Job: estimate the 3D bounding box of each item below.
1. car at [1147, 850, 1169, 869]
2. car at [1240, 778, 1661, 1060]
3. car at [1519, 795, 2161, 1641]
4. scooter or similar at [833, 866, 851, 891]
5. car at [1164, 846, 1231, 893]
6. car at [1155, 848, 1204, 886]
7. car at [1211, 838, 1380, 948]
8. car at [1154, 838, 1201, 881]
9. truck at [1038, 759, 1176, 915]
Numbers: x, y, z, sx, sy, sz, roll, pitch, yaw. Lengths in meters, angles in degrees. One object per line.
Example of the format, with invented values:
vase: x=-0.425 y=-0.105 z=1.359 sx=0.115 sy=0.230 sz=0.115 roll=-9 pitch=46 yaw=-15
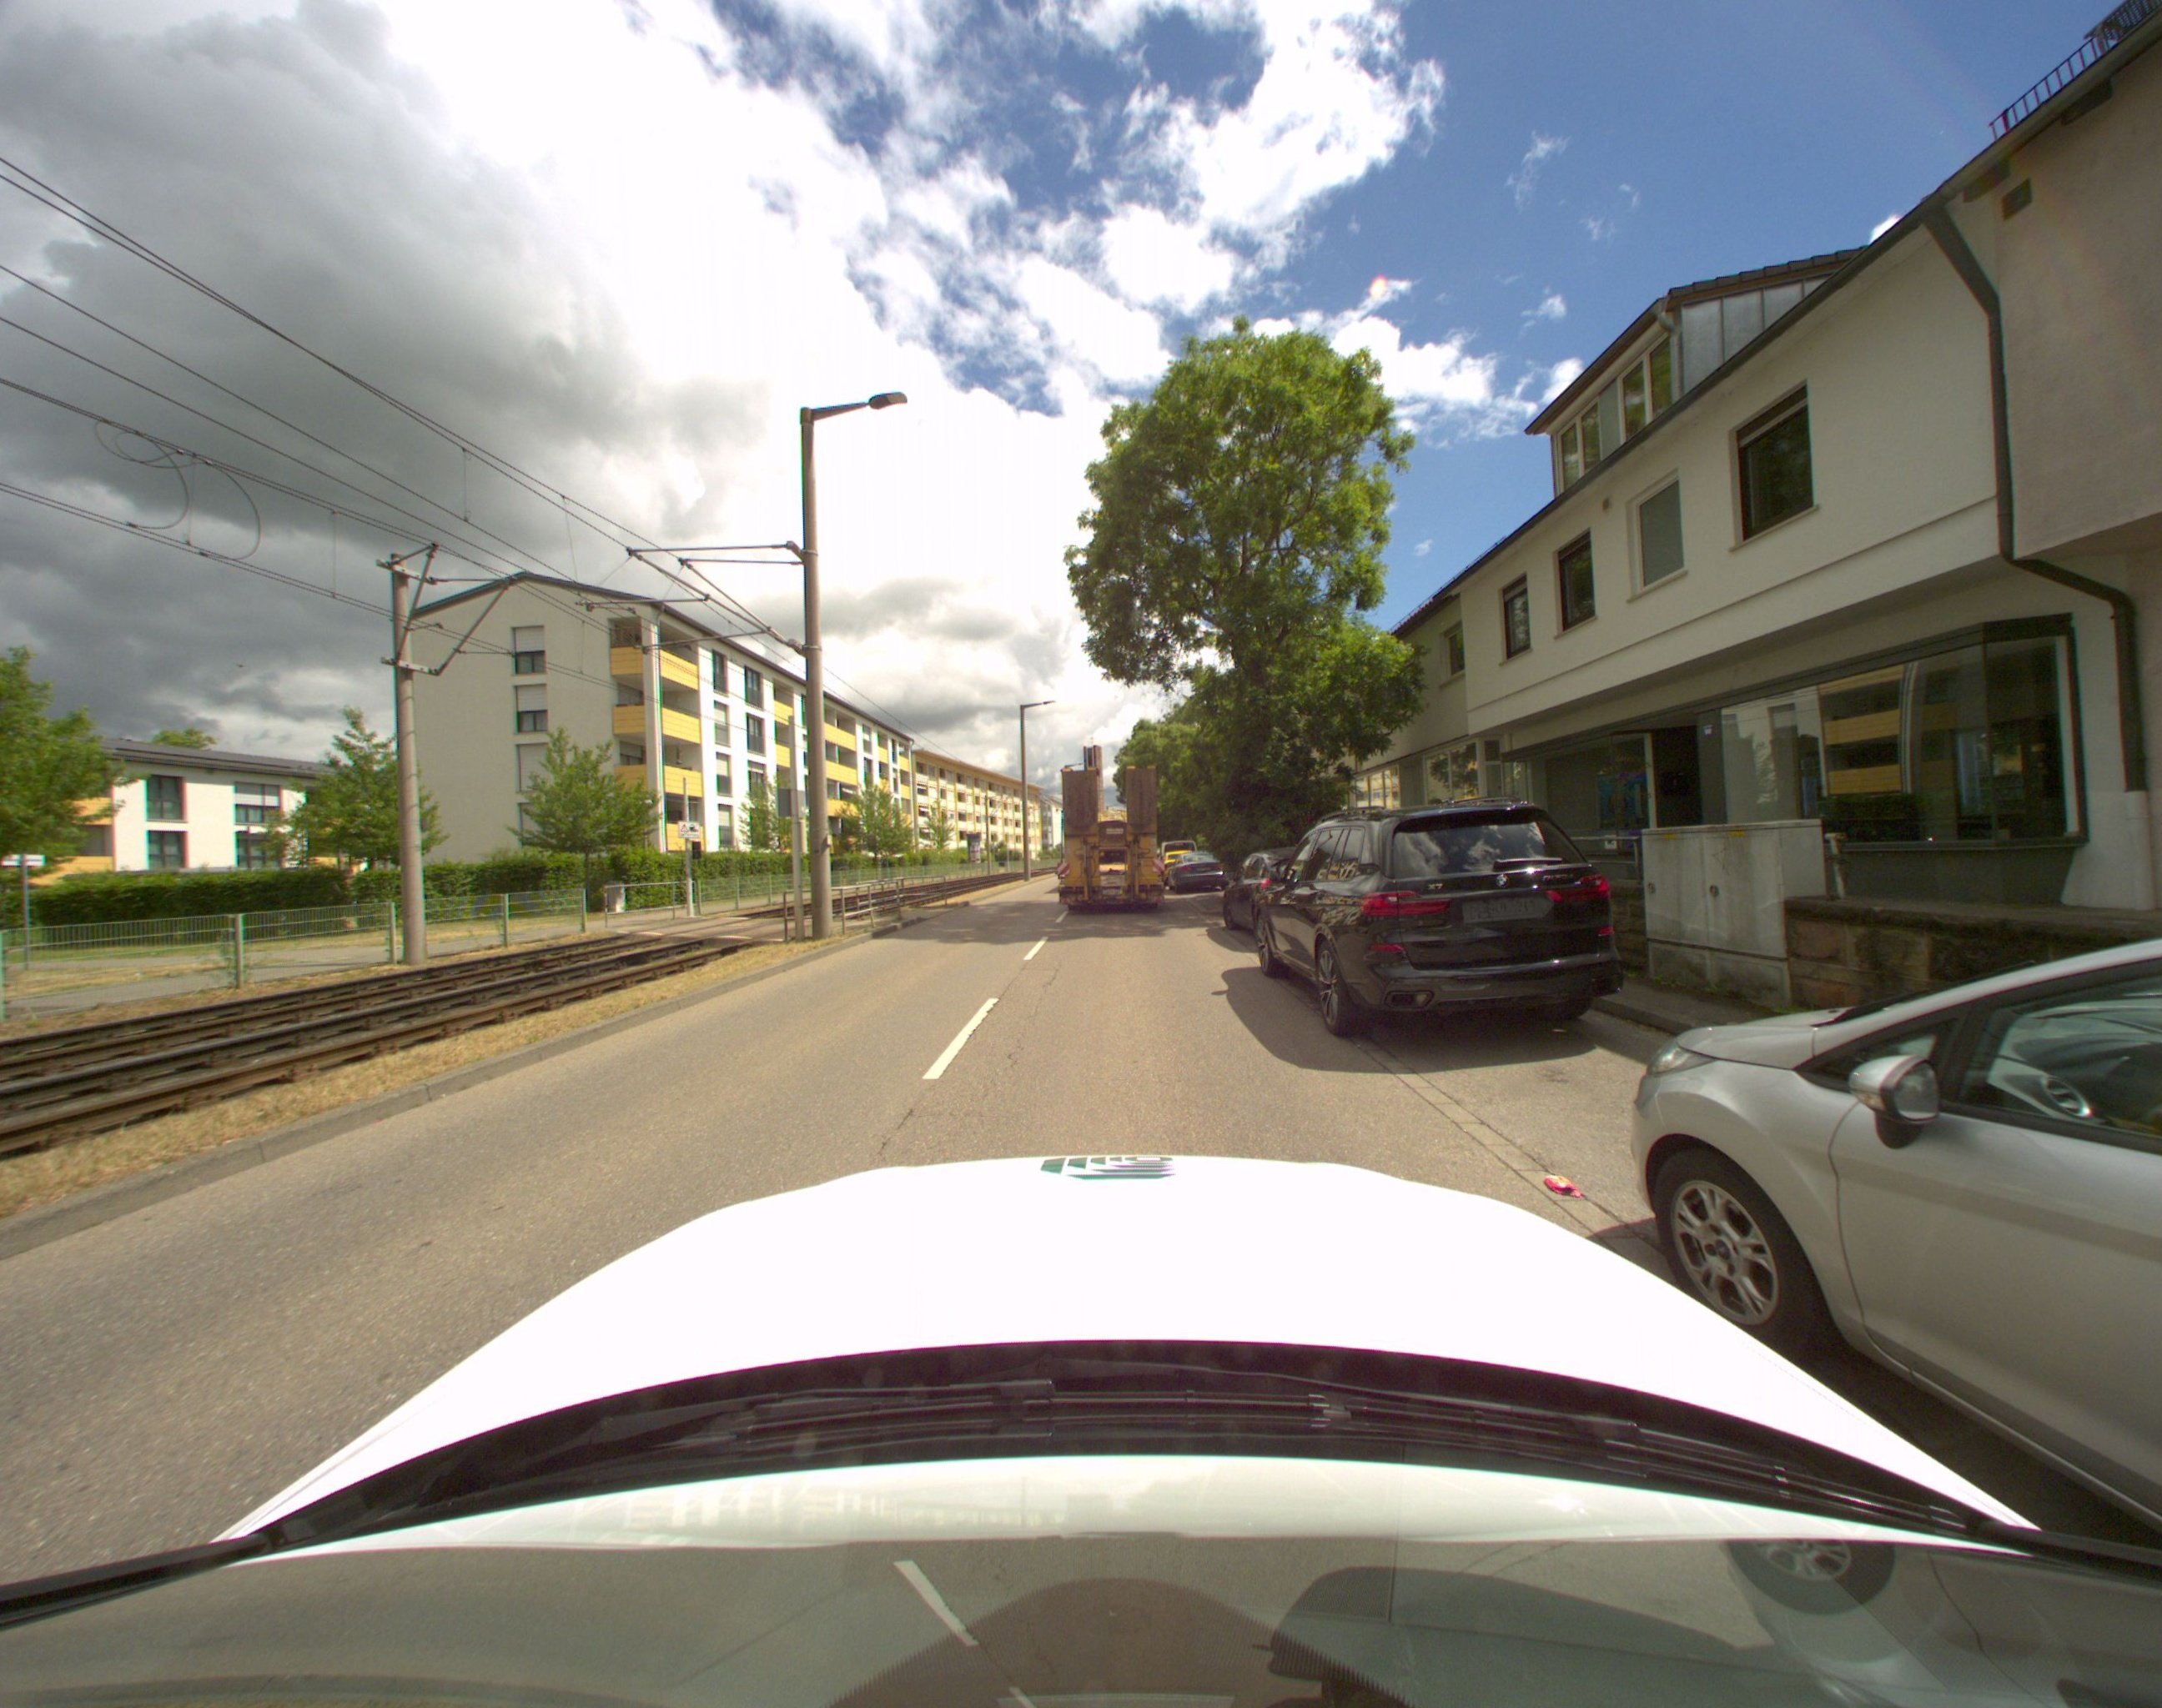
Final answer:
car: x=7.234 y=0.504 z=76.303 sx=1.814 sy=1.682 sz=4.584 roll=-3 pitch=0 yaw=7
car: x=2.960 y=0.443 z=8.000 sx=2.007 sy=1.788 sz=5.080 roll=-3 pitch=0 yaw=3
car: x=2.726 y=0.595 z=1.388 sx=1.766 sy=1.442 sz=3.899 roll=-5 pitch=0 yaw=0
scooter or similar: x=-12.898 y=1.315 z=43.991 sx=0.488 sy=1.293 sz=1.303 roll=-2 pitch=0 yaw=4
car: x=4.040 y=0.502 z=28.885 sx=1.749 sy=1.442 sz=4.495 roll=-3 pitch=0 yaw=1
car: x=4.236 y=0.534 z=35.535 sx=1.748 sy=1.442 sz=4.344 roll=-4 pitch=0 yaw=3
car: x=3.488 y=0.575 z=14.079 sx=1.828 sy=1.505 sz=4.243 roll=-3 pitch=0 yaw=1
car: x=4.890 y=0.246 z=42.025 sx=1.907 sy=1.958 sz=5.748 roll=-3 pitch=0 yaw=2
truck: x=0.836 y=-0.413 z=25.406 sx=3.112 sy=3.564 sz=12.465 roll=-2 pitch=0 yaw=2
